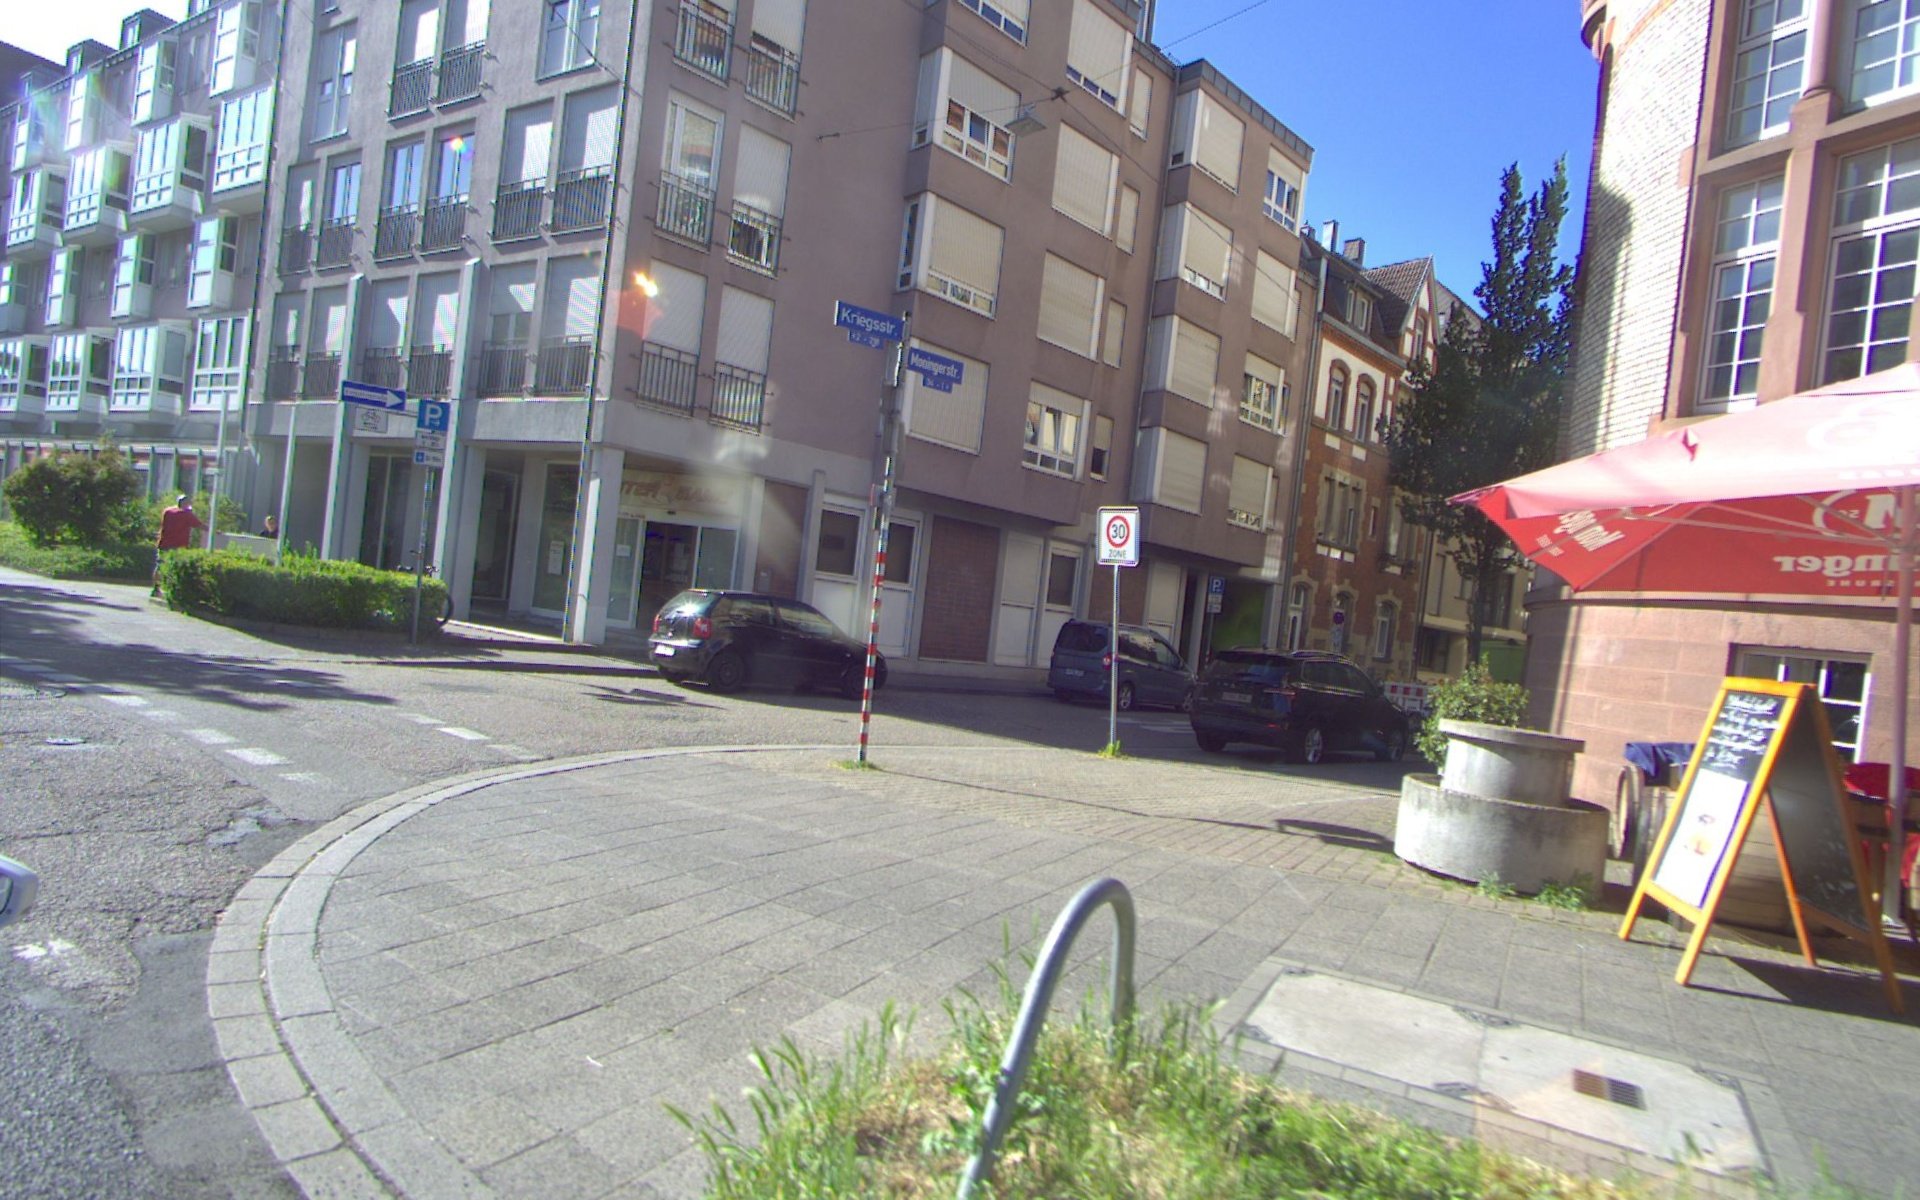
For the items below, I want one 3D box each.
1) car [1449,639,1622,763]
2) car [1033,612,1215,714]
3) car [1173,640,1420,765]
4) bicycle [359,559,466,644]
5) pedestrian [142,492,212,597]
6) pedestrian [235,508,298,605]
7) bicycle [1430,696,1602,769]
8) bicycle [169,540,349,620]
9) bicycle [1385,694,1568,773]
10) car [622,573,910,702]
[{"bbox_3d":[13.220,2.362,22.966,2.110,2.329,4.782,6,-2,45],"label":"car"},{"bbox_3d":[3.595,1.392,21.602,1.772,1.726,3.936,6,-2,45],"label":"car"},{"bbox_3d":[5.130,1.554,15.081,3.931,1.540,1.775,8,-4,-43],"label":"car"},{"bbox_3d":[-8.697,0.010,15.937,2.171,1.041,0.684,9,3,40],"label":"bicycle"},{"bbox_3d":[-12.702,-0.896,16.329,0.593,1.625,0.654,6,3,26],"label":"pedestrian"},{"bbox_3d":[-12.204,-0.758,17.710,0.593,1.625,0.654,6,3,26],"label":"pedestrian"},{"bbox_3d":[10.974,2.604,19.945,1.053,1.038,2.738,9,-4,-44],"label":"bicycle"},{"bbox_3d":[-11.104,-0.283,16.026,0.676,1.041,2.196,9,2,33],"label":"bicycle"},{"bbox_3d":[9.448,2.433,18.499,1.053,1.038,2.738,9,-4,-44],"label":"bicycle"},{"bbox_3d":[-2.901,0.628,15.613,1.838,1.541,3.935,6,-2,45],"label":"car"}]
